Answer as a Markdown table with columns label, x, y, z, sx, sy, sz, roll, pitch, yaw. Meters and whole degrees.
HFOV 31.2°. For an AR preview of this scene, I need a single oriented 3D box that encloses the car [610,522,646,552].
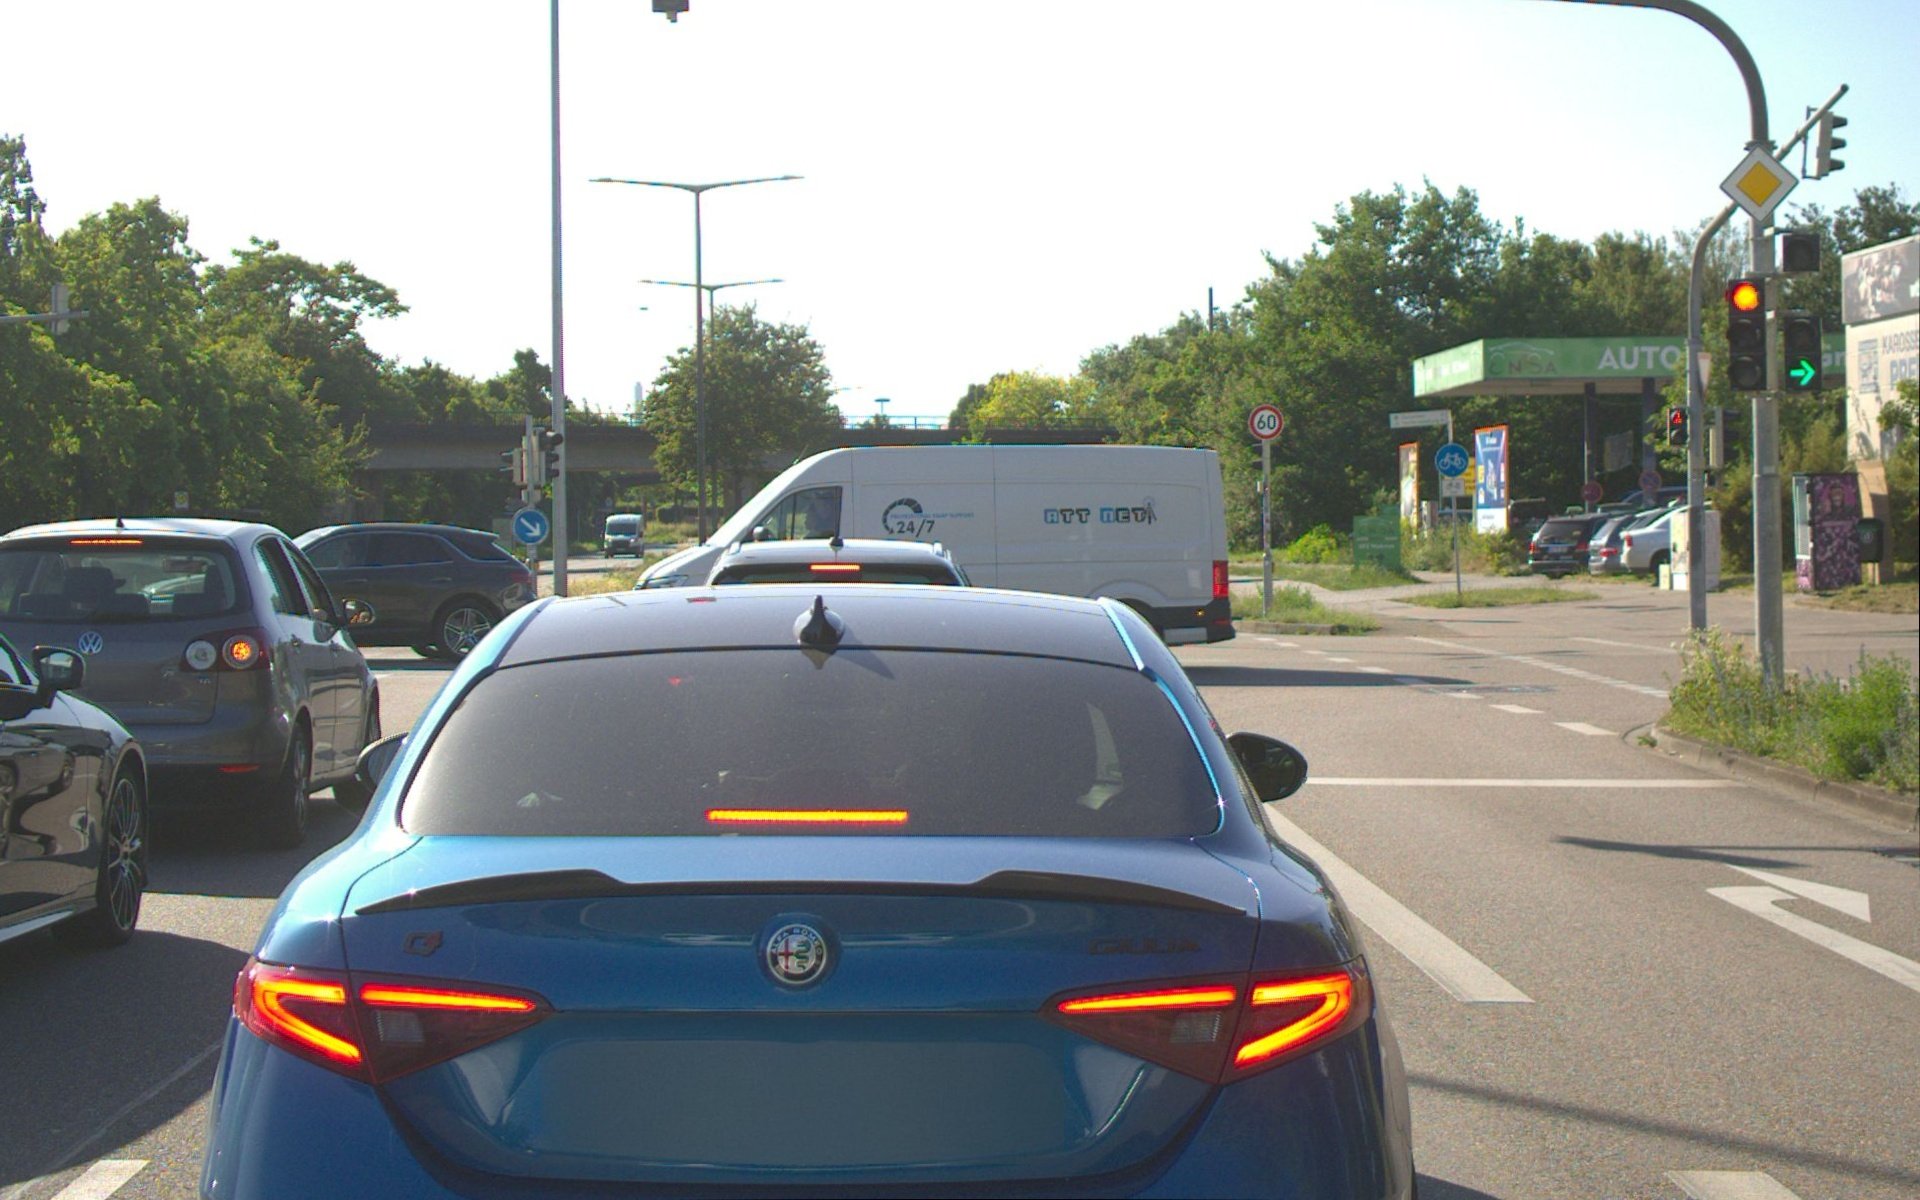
| label | x | y | z | sx | sy | sz | roll | pitch | yaw |
| --- | --- | --- | --- | --- | --- | --- | --- | --- | --- |
| car | -19.189 | -3.666 | 198.747 | 1.822 | 1.688 | 3.837 | 0 | 1 | -3 |

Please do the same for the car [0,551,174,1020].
| label | x | y | z | sx | sy | sz | roll | pitch | yaw |
| --- | --- | --- | --- | --- | --- | --- | --- | --- | --- |
| car | -3.808 | 0.572 | 10.637 | 1.768 | 1.409 | 4.461 | 0 | 1 | -1 |

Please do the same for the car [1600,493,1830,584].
| label | x | y | z | sx | sy | sz | roll | pitch | yaw |
| --- | --- | --- | --- | --- | --- | --- | --- | --- | --- |
| car | 14.510 | -1.189 | 66.104 | 3.986 | 1.700 | 1.696 | -1 | 1 | -16 |

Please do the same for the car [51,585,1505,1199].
| label | x | y | z | sx | sy | sz | roll | pitch | yaw |
| --- | --- | --- | --- | --- | --- | --- | --- | --- | --- |
| car | -0.257 | 0.698 | 6.393 | 1.866 | 1.380 | 3.932 | 0 | 1 | -1 |

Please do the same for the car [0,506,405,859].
| label | x | y | z | sx | sy | sz | roll | pitch | yaw |
| --- | --- | --- | --- | --- | --- | --- | --- | --- | --- |
| car | -3.957 | 0.332 | 17.542 | 1.648 | 1.593 | 3.932 | 0 | 1 | -1 |

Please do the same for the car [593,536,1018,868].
| label | x | y | z | sx | sy | sz | roll | pitch | yaw |
| --- | --- | --- | --- | --- | --- | --- | --- | --- | --- |
| car | -0.701 | 0.413 | 17.075 | 1.866 | 1.445 | 3.932 | 0 | 1 | -1 |

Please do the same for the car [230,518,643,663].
| label | x | y | z | sx | sy | sz | roll | pitch | yaw |
| --- | --- | --- | --- | --- | --- | --- | --- | --- | --- |
| car | -6.244 | -0.144 | 40.902 | 4.597 | 1.647 | 2.001 | -1 | 1 | -18 |

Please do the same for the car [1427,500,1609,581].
| label | x | y | z | sx | sy | sz | roll | pitch | yaw |
| --- | --- | --- | --- | --- | --- | --- | --- | --- | --- |
| car | 12.019 | -1.280 | 74.150 | 3.483 | 1.700 | 1.696 | -1 | 1 | -16 |

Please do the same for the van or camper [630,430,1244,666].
| label | x | y | z | sx | sy | sz | roll | pitch | yaw |
| --- | --- | --- | --- | --- | --- | --- | --- | --- | --- |
| van or camper | -0.321 | -0.604 | 38.925 | 6.730 | 2.563 | 2.186 | 0 | 1 | -7 |

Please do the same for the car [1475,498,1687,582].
| label | x | y | z | sx | sy | sz | roll | pitch | yaw |
| --- | --- | --- | --- | --- | --- | --- | --- | --- | --- |
| car | 12.820 | -1.243 | 70.959 | 3.986 | 1.700 | 1.696 | -1 | 1 | -19 |
